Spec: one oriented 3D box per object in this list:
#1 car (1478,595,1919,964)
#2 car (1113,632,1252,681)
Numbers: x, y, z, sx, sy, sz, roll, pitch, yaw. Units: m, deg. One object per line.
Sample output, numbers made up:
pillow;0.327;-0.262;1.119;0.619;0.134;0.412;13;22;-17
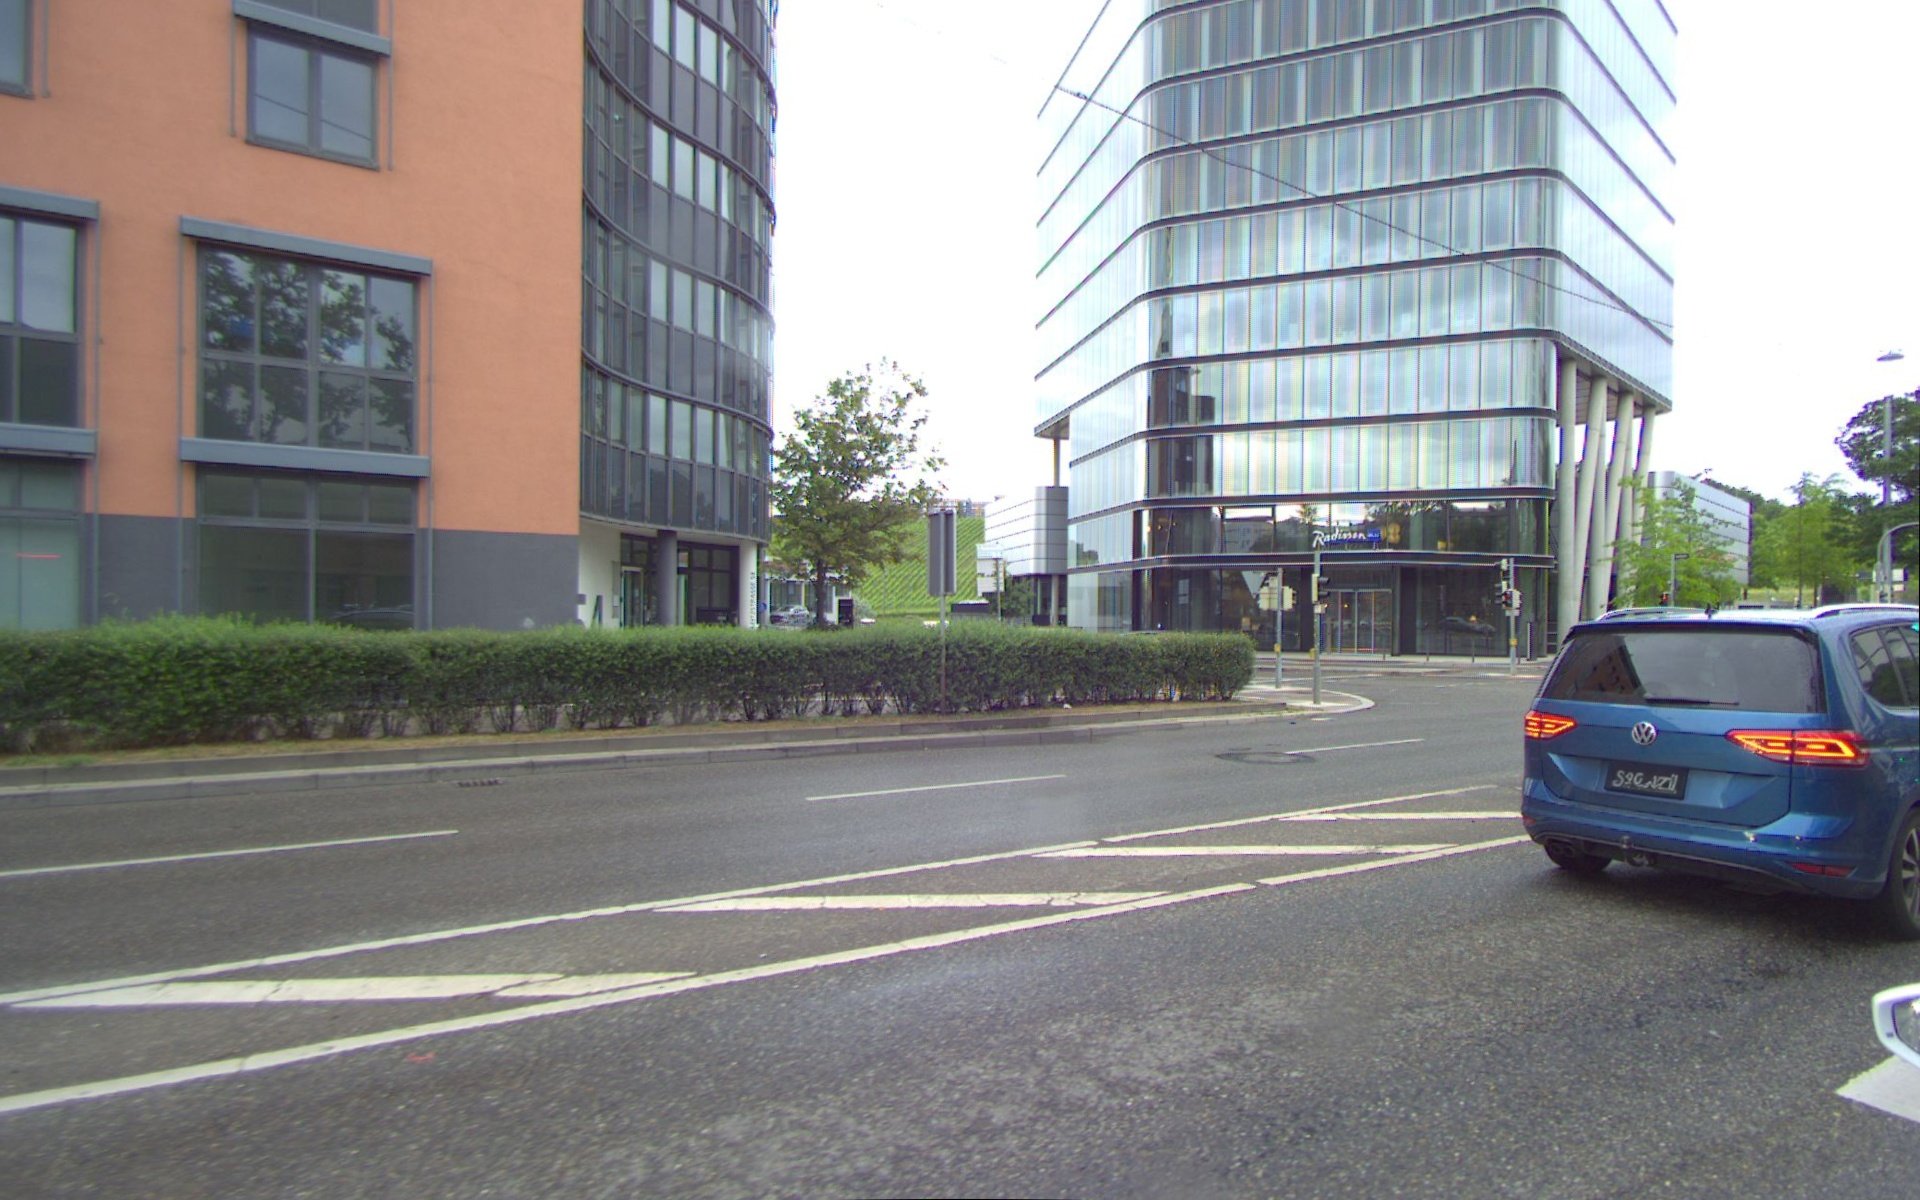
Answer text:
car;5.305;0.842;6.206;4.146;1.617;1.765;1;-2;-29
car;7.609;1.891;34.505;4.307;1.530;1.848;-1;-1;40
